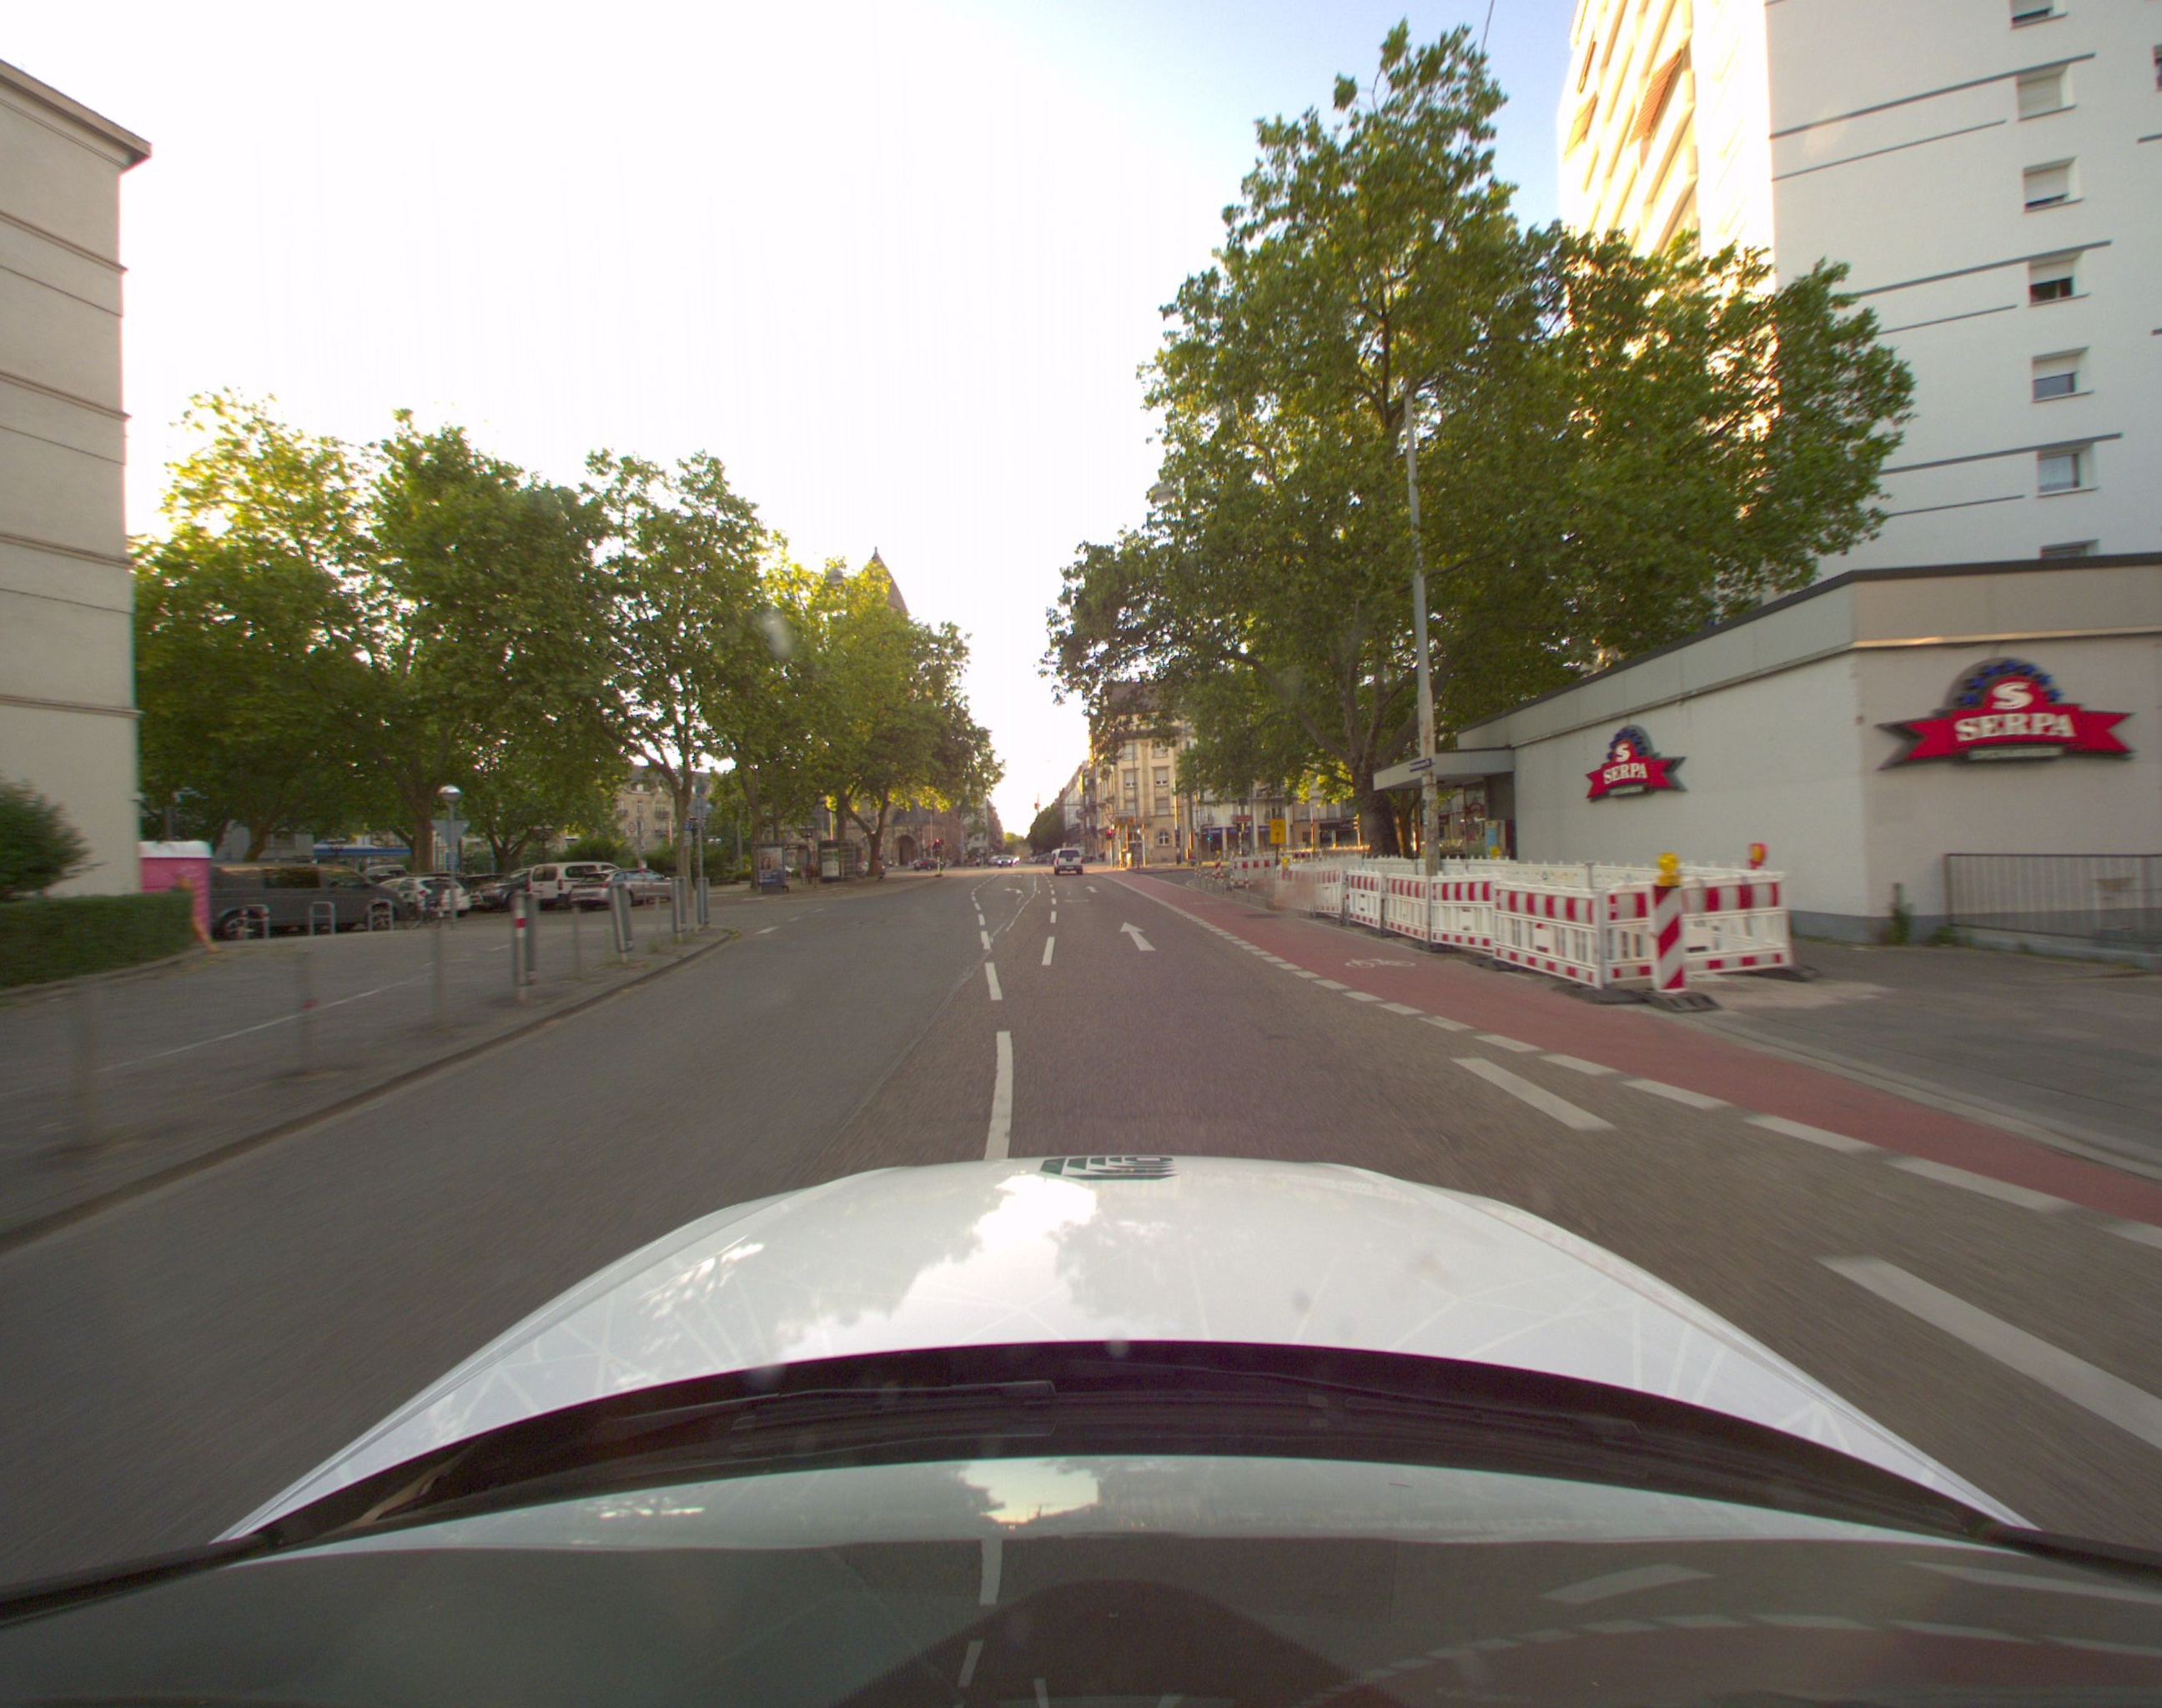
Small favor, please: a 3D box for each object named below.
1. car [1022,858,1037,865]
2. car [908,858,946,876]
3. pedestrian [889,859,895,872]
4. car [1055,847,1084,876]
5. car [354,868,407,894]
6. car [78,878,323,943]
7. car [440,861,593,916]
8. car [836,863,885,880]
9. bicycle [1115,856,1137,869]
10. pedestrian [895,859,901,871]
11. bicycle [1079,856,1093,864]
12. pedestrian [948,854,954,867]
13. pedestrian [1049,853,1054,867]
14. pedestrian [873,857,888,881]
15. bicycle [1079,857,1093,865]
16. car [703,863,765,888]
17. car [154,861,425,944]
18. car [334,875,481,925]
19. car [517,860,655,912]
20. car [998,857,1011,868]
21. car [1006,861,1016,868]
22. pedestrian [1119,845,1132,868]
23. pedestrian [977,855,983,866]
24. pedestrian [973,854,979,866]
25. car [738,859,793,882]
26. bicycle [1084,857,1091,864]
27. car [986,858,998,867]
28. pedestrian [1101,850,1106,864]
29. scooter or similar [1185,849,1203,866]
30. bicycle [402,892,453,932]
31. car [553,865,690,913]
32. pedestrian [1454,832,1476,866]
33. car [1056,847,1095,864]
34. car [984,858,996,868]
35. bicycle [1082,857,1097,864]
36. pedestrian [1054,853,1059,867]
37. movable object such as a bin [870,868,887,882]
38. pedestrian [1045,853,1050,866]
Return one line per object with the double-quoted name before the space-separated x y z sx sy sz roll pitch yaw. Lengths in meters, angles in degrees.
"car" -14.177 1.975 225.218 3.983 1.816 1.995 -2 0 -7
"car" -17.475 1.479 92.834 2.060 1.841 4.656 -2 1 21
"pedestrian" -24.951 1.506 107.405 0.553 1.584 0.549 -2 0 7
"car" -0.803 0.491 55.957 1.861 1.815 3.997 -3 0 -2
"car" -66.559 2.557 77.385 4.287 2.260 1.941 -2 -1 21
"car" -25.426 1.581 23.756 2.026 1.595 4.360 -2 -1 19
"car" -22.550 1.332 32.801 2.061 1.841 4.654 -2 1 19
"car" -23.398 1.834 86.409 4.619 1.530 1.997 -2 0 -4
"bicycle" 3.608 0.641 64.974 1.690 0.968 0.544 -2 0 -8
"pedestrian" -24.212 1.498 107.509 0.553 1.584 0.549 -2 0 7
"bicycle" 0.695 0.818 111.775 1.910 0.968 0.545 -2 0 -3
"pedestrian" -19.373 0.963 121.211 0.648 1.886 0.589 -2 0 24
"pedestrian" -4.210 0.817 115.512 0.591 1.886 0.647 -2 0 1
"pedestrian" -13.973 1.066 56.842 0.733 1.629 0.688 -2 0 11
"bicycle" 0.724 0.933 112.054 1.910 0.968 0.545 -2 0 -3
"car" -28.959 1.781 68.148 2.060 1.841 4.656 -2 1 21
"car" -21.206 1.210 22.146 1.977 1.973 4.870 -2 -1 20
"car" -23.227 1.588 28.122 3.956 1.519 2.009 -2 0 17
"car" -19.926 1.235 33.042 1.804 1.800 4.654 -2 1 19
"car" -11.472 1.295 122.575 1.781 1.651 3.810 -1 0 -8
"car" -15.971 2.327 185.077 1.992 1.506 3.810 -1 0 -8
"pedestrian" 3.602 0.218 65.475 0.797 1.768 0.717 -2 0 -18
"pedestrian" -16.612 1.083 134.063 0.588 1.886 0.557 -2 0 25
"pedestrian" -17.314 1.039 134.205 0.588 1.886 0.588 -2 0 25
"car" -29.203 1.533 75.491 2.060 1.841 4.656 -2 1 21
"bicycle" 0.863 0.942 114.203 0.540 0.968 1.928 -2 0 14
"car" -16.649 1.612 152.032 1.992 1.651 3.810 -1 0 -8
"pedestrian" 3.049 0.428 109.524 0.591 1.886 0.647 -2 0 1
"scooter or similar" 8.998 0.273 64.689 0.548 1.250 1.374 -2 0 -40
"bicycle" -17.998 1.592 22.422 1.801 1.042 0.483 -2 0 31
"car" -17.381 1.289 31.095 1.806 1.481 4.648 -2 1 13
"pedestrian" 19.825 -0.257 42.059 0.662 1.758 0.713 -2 0 -17
"car" -0.771 0.171 118.270 5.856 2.288 2.047 -2 0 -44
"car" -16.160 1.565 144.292 1.992 1.651 3.810 -1 0 -8
"bicycle" 1.188 0.934 112.850 1.901 0.968 0.548 -2 0 13
"pedestrian" -3.362 0.789 112.023 0.591 1.886 0.647 -2 0 1
"movable object such as a bin" -13.884 1.436 55.936 0.733 0.890 0.986 -2 0 11
"pedestrian" -5.153 0.874 124.803 0.591 1.886 0.647 -2 0 1
